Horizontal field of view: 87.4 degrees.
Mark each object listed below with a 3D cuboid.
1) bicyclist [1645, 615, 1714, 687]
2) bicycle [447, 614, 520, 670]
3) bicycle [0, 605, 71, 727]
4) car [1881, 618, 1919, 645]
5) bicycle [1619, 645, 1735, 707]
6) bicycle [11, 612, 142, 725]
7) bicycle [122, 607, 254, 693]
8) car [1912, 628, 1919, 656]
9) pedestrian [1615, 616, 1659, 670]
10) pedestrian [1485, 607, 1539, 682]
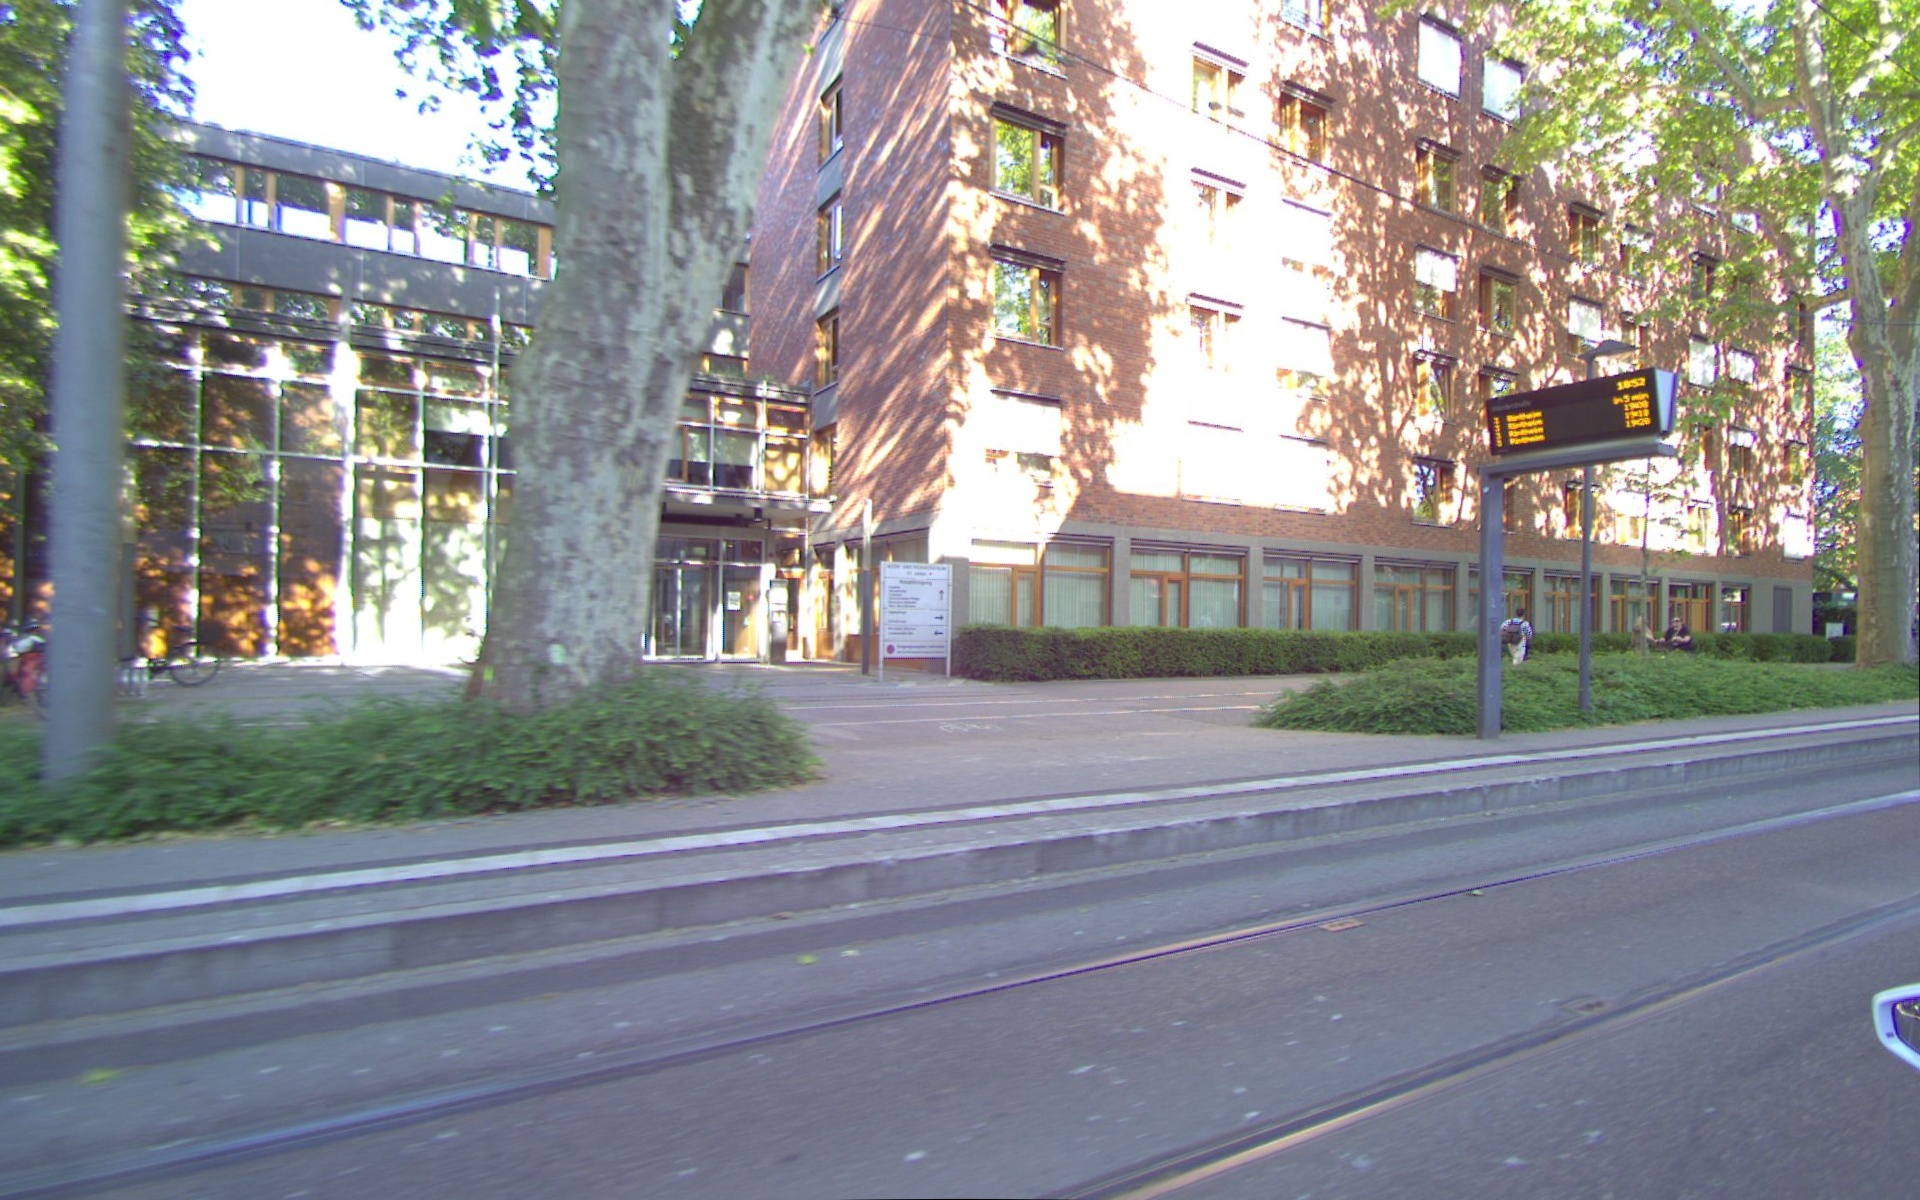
[{"bbox_3d":[15.762,1.110,22.019,0.828,1.511,0.950,2,0,-30],"label":"bicyclist"},{"bbox_3d":[-10.050,0.855,21.162,1.920,1.087,0.760,1,-1,44],"label":"bicycle"},{"bbox_3d":[-11.310,0.724,11.860,0.674,1.235,2.447,2,1,-29],"label":"bicycle"},{"bbox_3d":[76.584,2.571,81.298,3.953,2.040,1.984,2,0,-30],"label":"car"},{"bbox_3d":[15.710,1.633,21.977,2.943,1.256,0.950,2,0,-30],"label":"bicycle"},{"bbox_3d":[-10.607,0.767,12.150,0.674,1.182,2.330,2,0,-29],"label":"bicycle"},{"bbox_3d":[-11.791,0.742,15.395,0.668,1.235,1.501,1,0,12],"label":"bicycle"},{"bbox_3d":[72.510,3.122,73.187,1.976,2.040,4.230,2,-1,-30],"label":"car"},{"bbox_3d":[20.769,1.312,30.822,0.935,1.626,0.771,2,0,-30],"label":"pedestrian"},{"bbox_3d":[12.785,1.018,23.276,0.851,1.694,0.732,2,0,-30],"label":"pedestrian"}]
